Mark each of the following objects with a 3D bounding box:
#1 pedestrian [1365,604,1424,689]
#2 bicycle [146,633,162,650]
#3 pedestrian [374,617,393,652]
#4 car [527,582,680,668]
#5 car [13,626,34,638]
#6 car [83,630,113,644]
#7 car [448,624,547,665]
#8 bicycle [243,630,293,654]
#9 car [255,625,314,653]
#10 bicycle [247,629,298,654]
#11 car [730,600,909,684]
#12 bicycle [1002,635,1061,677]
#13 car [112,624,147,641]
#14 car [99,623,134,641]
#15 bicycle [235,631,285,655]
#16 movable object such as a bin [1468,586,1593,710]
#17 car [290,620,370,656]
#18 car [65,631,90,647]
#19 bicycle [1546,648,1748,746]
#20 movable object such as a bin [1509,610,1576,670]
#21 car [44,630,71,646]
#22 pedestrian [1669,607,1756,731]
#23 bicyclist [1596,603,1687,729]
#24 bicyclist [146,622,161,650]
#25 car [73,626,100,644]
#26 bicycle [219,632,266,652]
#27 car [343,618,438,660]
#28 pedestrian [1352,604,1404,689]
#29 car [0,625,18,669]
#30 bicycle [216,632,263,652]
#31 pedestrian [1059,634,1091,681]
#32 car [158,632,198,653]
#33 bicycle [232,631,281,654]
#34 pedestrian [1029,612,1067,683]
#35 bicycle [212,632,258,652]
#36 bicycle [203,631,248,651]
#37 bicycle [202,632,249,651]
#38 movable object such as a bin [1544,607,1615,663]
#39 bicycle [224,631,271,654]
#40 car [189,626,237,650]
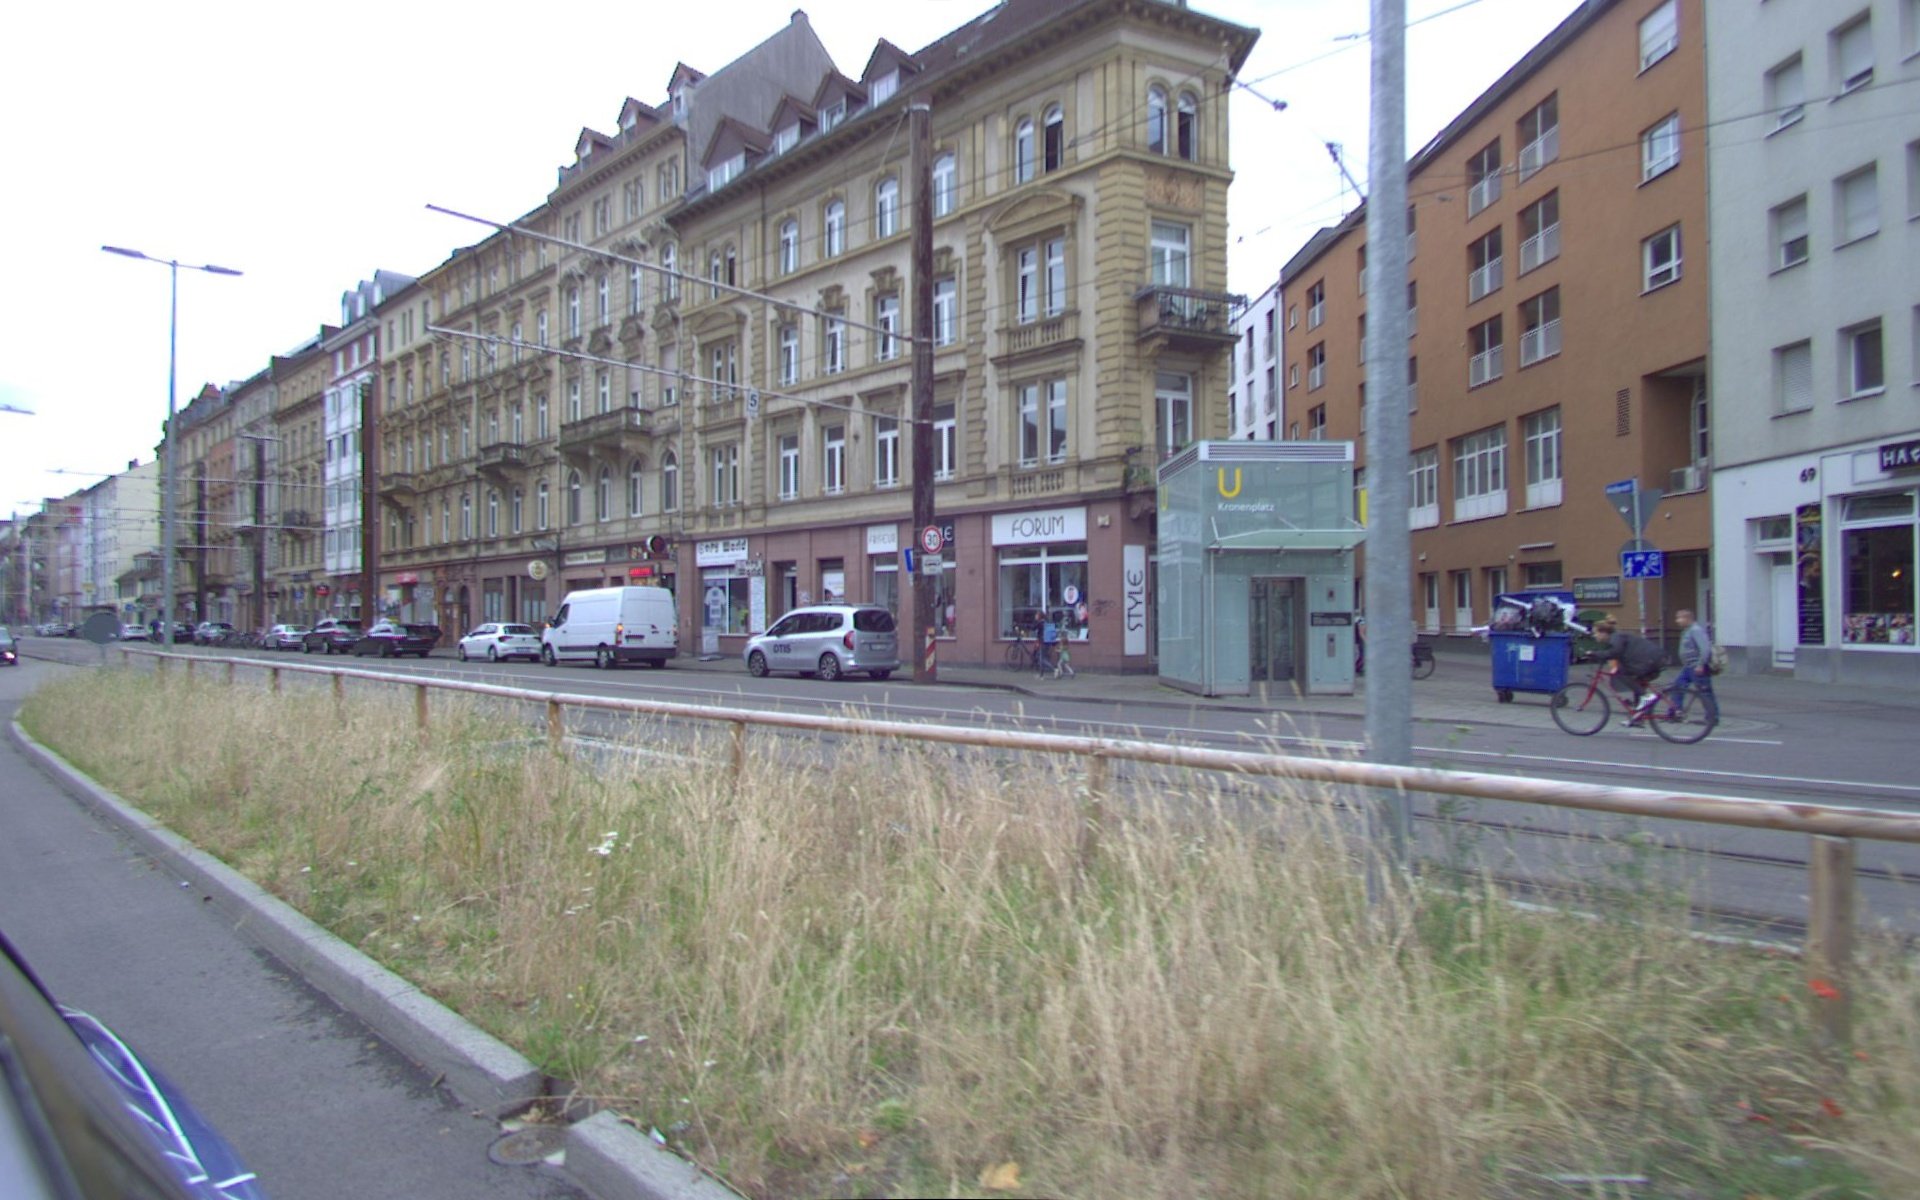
[{"bbox_3d":[9.032,0.947,21.065,0.651,1.700,0.926,1,-1,-33],"label":"pedestrian"},{"bbox_3d":[-55.744,2.849,69.959,2.045,1.183,0.578,-2,-3,44],"label":"bicycle"},{"bbox_3d":[-30.695,1.825,53.880,0.644,1.795,0.787,-1,0,-11],"label":"pedestrian"},{"bbox_3d":[-11.386,0.841,32.080,5.663,2.506,2.031,-2,-4,41],"label":"car"},{"bbox_3d":[-128.042,4.430,138.363,4.000,1.574,1.843,-2,-3,43],"label":"car"},{"bbox_3d":[-85.774,3.676,100.667,3.432,1.391,1.630,-3,-3,39],"label":"car"},{"bbox_3d":[-17.105,1.644,37.362,4.162,1.434,1.752,-2,-4,41],"label":"car"},{"bbox_3d":[-39.481,2.396,57.734,0.521,1.339,2.257,-2,-3,42],"label":"bicycle"},{"bbox_3d":[-36.834,2.121,55.139,3.918,1.500,1.725,-2,-3,42],"label":"car"},{"bbox_3d":[-38.917,2.357,57.282,0.666,1.339,2.257,-2,-3,42],"label":"bicycle"},{"bbox_3d":[-3.526,1.024,24.935,4.518,1.879,1.883,-2,-3,41],"label":"car"},{"bbox_3d":[1.725,1.341,24.704,0.336,0.966,1.690,-1,0,-41],"label":"bicycle"},{"bbox_3d":[-71.642,2.806,87.323,4.045,1.476,1.725,-2,-3,42],"label":"car"},{"bbox_3d":[-75.314,2.827,90.374,4.544,1.533,1.804,-3,-3,43],"label":"car"},{"bbox_3d":[-40.834,2.514,59.080,0.666,1.339,2.257,-2,-3,42],"label":"bicycle"},{"bbox_3d":[9.727,0.778,17.288,1.018,1.996,1.619,1,0,-41],"label":"movable object such as a bin"},{"bbox_3d":[-30.909,1.855,49.602,5.026,1.703,1.795,-2,-3,40],"label":"car"},{"bbox_3d":[-96.617,4.232,110.776,4.181,1.684,1.682,-2,0,44],"label":"car"},{"bbox_3d":[8.009,1.100,11.865,1.911,1.029,0.474,-2,-2,41],"label":"bicycle"},{"bbox_3d":[15.350,1.030,26.695,0.932,1.512,1.241,-1,0,-7],"label":"movable object such as a bin"},{"bbox_3d":[-105.186,4.428,117.978,3.825,1.745,1.903,-2,0,42],"label":"car"},{"bbox_3d":[10.688,0.948,14.380,0.811,1.700,0.725,1,-1,-30],"label":"pedestrian"},{"bbox_3d":[8.007,0.758,11.897,0.811,1.417,0.474,-2,-2,41],"label":"bicyclist"},{"bbox_3d":[-55.709,2.459,69.908,1.028,1.897,0.638,-2,0,44],"label":"bicyclist"},{"bbox_3d":[-89.359,3.552,103.530,3.920,1.770,1.684,-2,-3,44],"label":"car"},{"bbox_3d":[-44.335,2.616,62.521,0.666,1.212,2.257,-2,-3,42],"label":"bicycle"},{"bbox_3d":[-24.460,1.680,43.376,5.049,1.702,1.899,-2,-4,41],"label":"car"},{"bbox_3d":[8.507,0.927,20.600,0.651,1.700,0.725,1,-1,-33],"label":"pedestrian"},{"bbox_3d":[-36.108,1.724,37.261,3.648,1.558,1.725,-2,-1,41],"label":"car"},{"bbox_3d":[-44.863,2.623,63.001,0.666,1.212,2.257,-2,-3,42],"label":"bicycle"},{"bbox_3d":[2.616,1.304,23.108,0.546,1.038,0.454,-1,0,-40],"label":"pedestrian"},{"bbox_3d":[-57.482,3.085,74.383,3.920,1.500,1.724,-2,-3,43],"label":"car"},{"bbox_3d":[-41.438,2.491,59.649,0.666,1.339,2.257,-2,-3,42],"label":"bicycle"},{"bbox_3d":[1.990,1.055,22.922,0.546,1.568,0.659,-1,0,-30],"label":"pedestrian"},{"bbox_3d":[-45.465,2.619,63.493,0.705,1.212,2.257,-2,-3,42],"label":"bicycle"},{"bbox_3d":[-46.988,2.623,64.766,0.547,1.212,2.257,-2,-1,42],"label":"bicycle"},{"bbox_3d":[-46.573,2.626,64.202,0.705,1.212,2.257,-2,-3,42],"label":"bicycle"},{"bbox_3d":[16.360,0.897,26.769,0.995,1.416,1.241,-1,0,-7],"label":"movable object such as a bin"},{"bbox_3d":[-43.407,2.590,61.679,0.666,1.339,2.257,-2,-3,42],"label":"bicycle"},{"bbox_3d":[-49.819,2.522,67.449,4.224,1.545,1.725,-2,-3,42],"label":"car"}]
